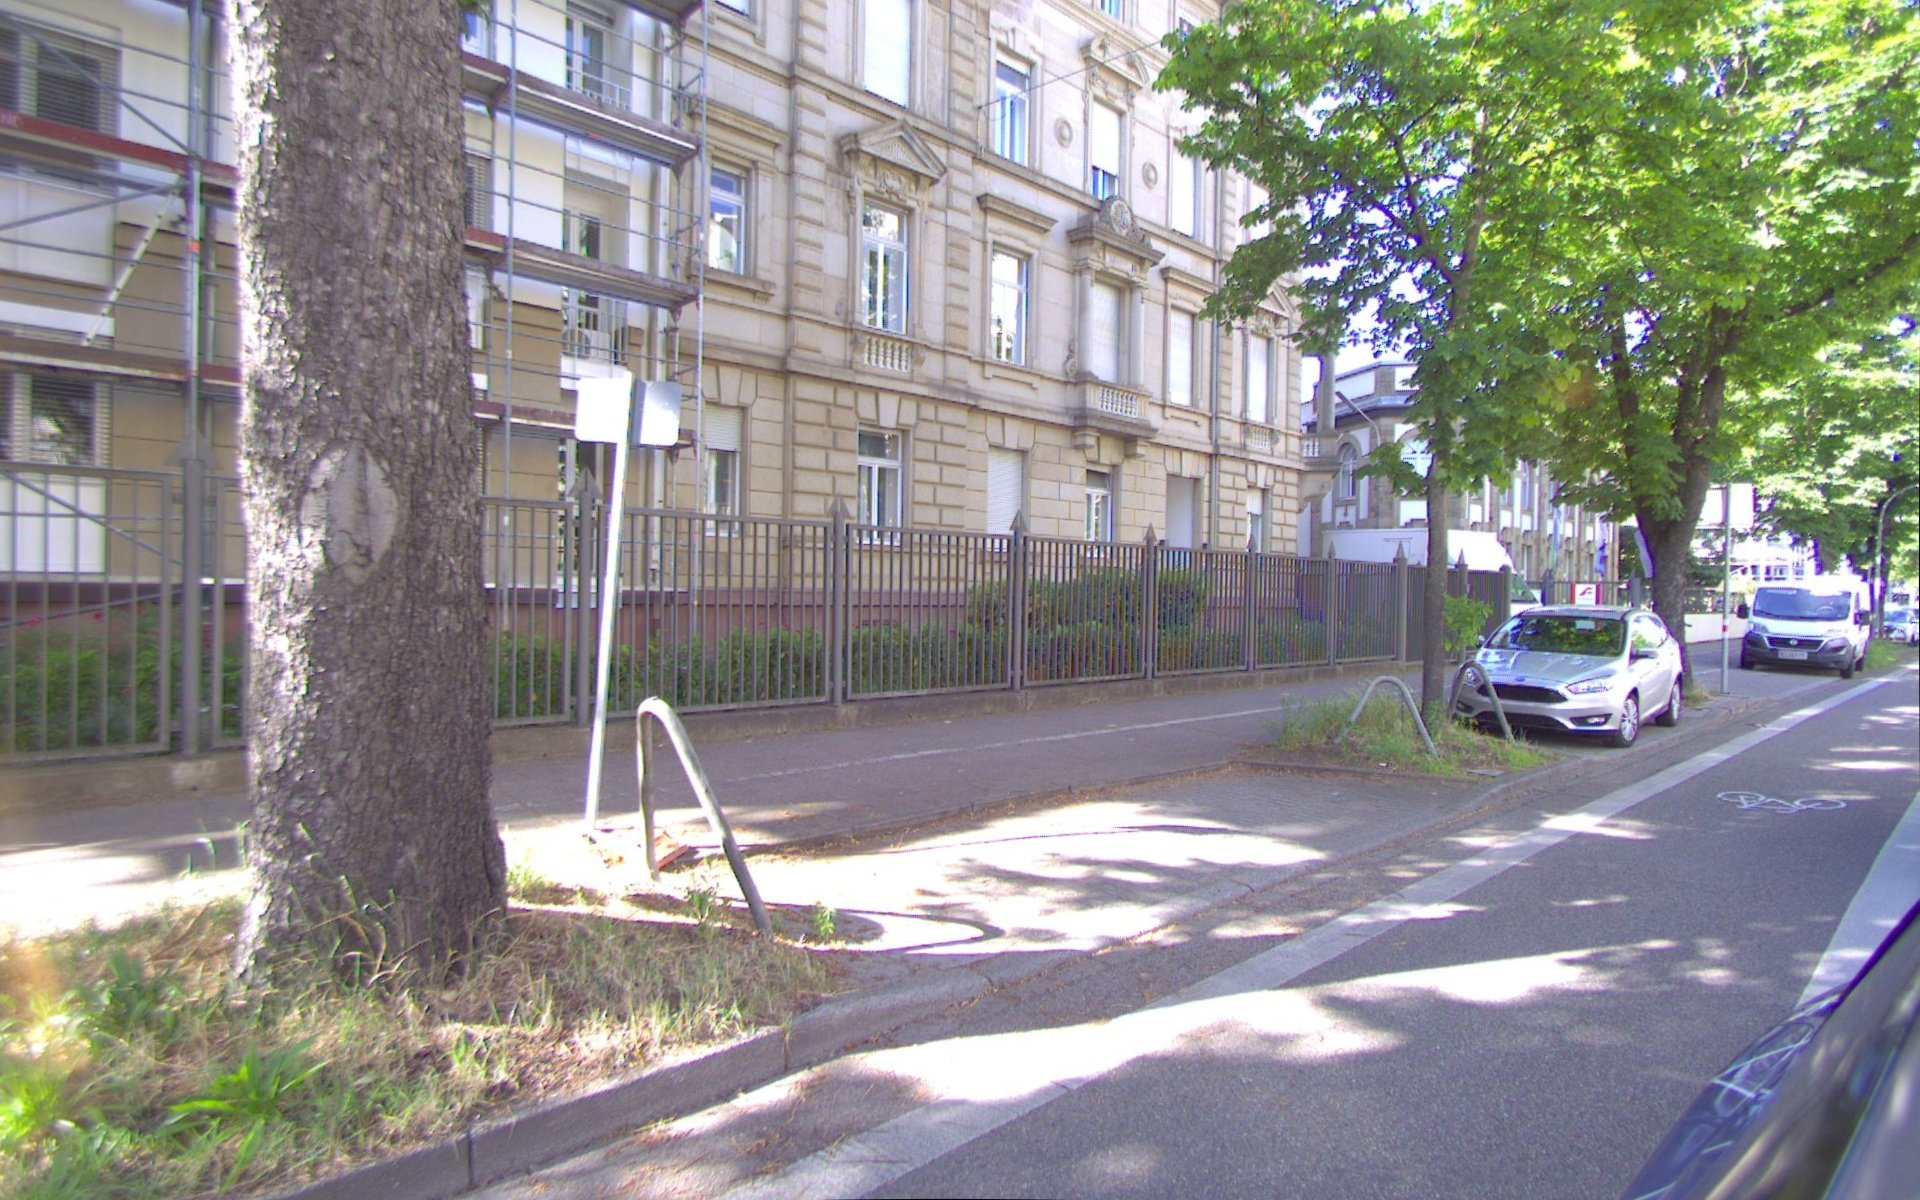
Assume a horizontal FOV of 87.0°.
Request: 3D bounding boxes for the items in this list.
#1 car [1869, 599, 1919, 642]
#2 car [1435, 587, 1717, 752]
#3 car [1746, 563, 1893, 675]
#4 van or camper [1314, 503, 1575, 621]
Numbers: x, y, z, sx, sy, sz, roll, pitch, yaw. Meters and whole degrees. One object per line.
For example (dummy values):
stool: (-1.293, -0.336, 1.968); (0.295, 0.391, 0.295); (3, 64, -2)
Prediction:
car: (37.430, 0.777, 40.077); (4.035, 1.569, 1.863); (-1, 1, -44)
car: (7.579, 0.666, 12.263); (4.294, 1.562, 1.874); (-1, 3, -44)
car: (20.974, 0.352, 24.593); (5.710, 2.371, 2.129); (-1, 3, -44)
van or camper: (12.247, -0.890, 26.372); (2.078, 2.660, 6.751); (0, 0, -17)
